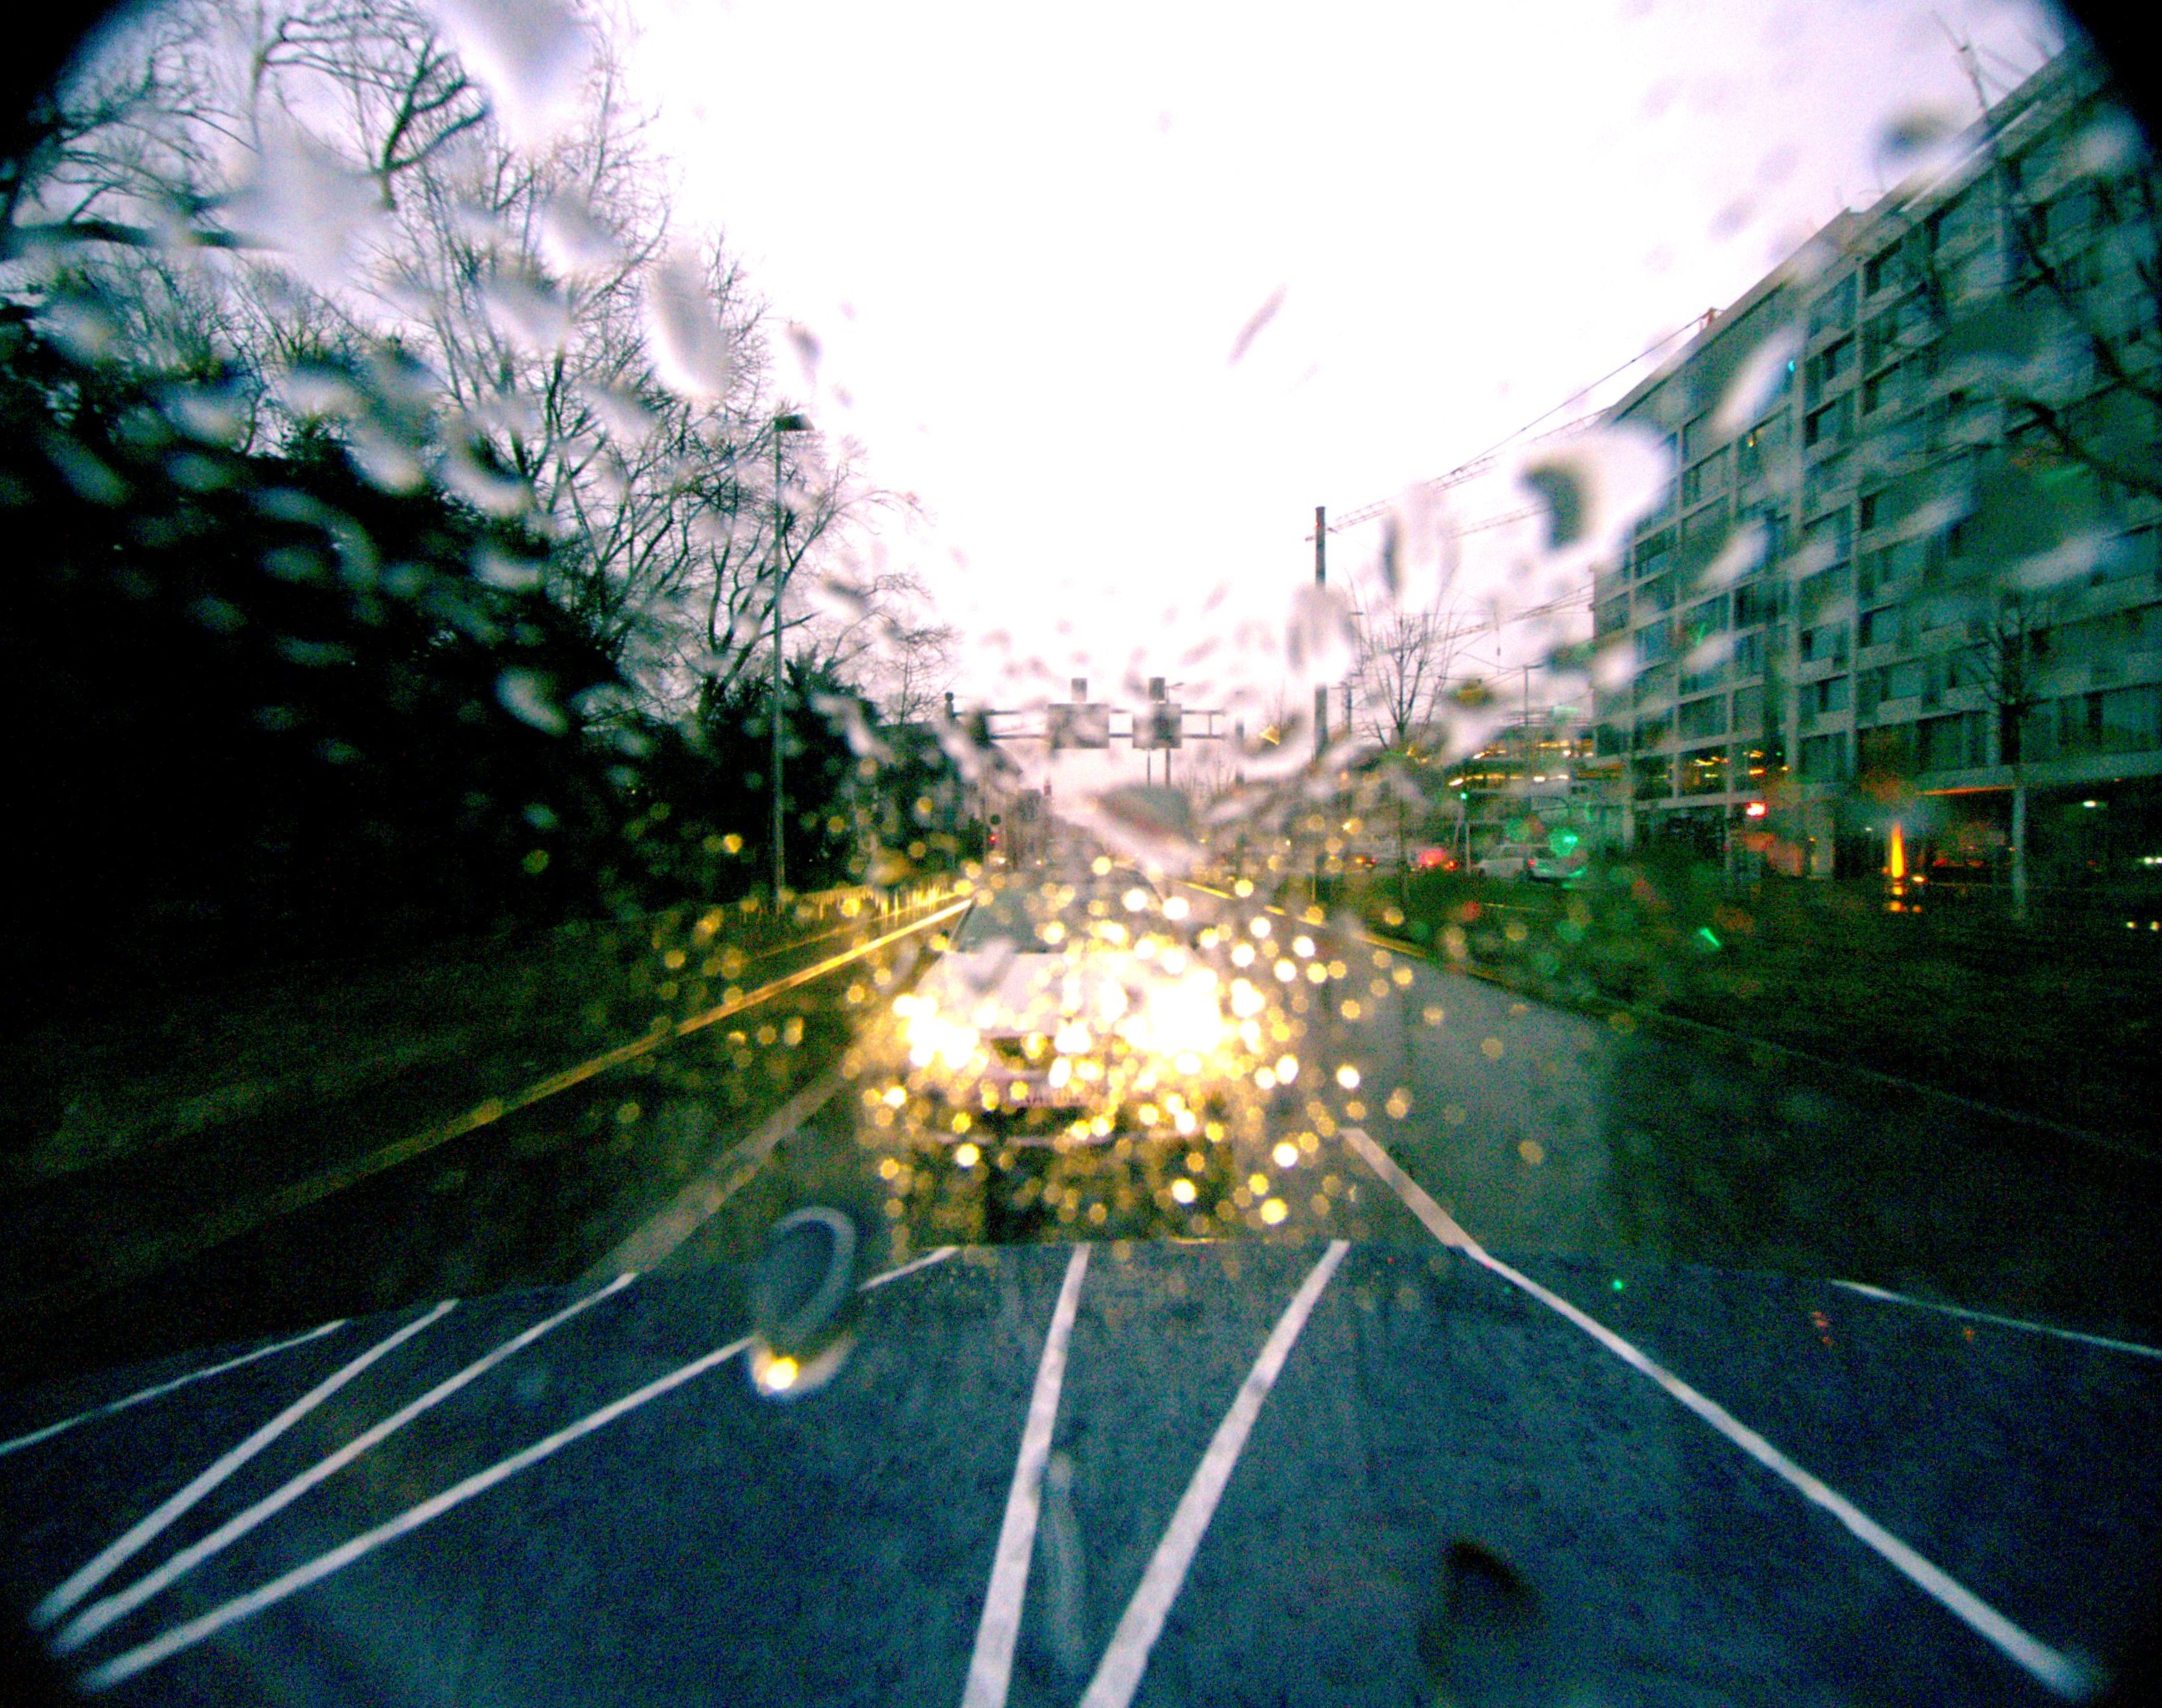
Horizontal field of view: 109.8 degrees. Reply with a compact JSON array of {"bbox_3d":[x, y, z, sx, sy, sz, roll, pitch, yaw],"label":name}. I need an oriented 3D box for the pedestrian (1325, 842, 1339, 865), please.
[{"bbox_3d":[19.986,-0.041,60.465,0.710,1.794,0.769,-3,1,-14],"label":"pedestrian"}]

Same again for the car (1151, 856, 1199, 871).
[{"bbox_3d":[8.093,0.812,65.650,3.996,1.267,1.818,0,1,4],"label":"car"}]

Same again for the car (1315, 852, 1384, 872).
[{"bbox_3d":[19.334,0.544,54.833,2.116,1.392,4.247,-1,1,-33],"label":"car"}]

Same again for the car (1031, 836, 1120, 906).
[{"bbox_3d":[-0.097,0.373,20.309,2.073,1.618,4.267,-2,1,1],"label":"car"}]

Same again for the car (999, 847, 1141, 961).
[{"bbox_3d":[-0.213,0.728,13.529,2.073,1.618,4.267,-2,1,-1],"label":"car"}]

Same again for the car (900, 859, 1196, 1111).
[{"bbox_3d":[-0.184,0.856,6.937,1.886,1.552,4.170,0,0,1],"label":"car"}]

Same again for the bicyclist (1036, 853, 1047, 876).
[{"bbox_3d":[-2.841,0.767,55.036,0.692,1.675,0.592,-2,1,-6],"label":"bicyclist"}]

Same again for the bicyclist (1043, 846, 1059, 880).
[{"bbox_3d":[-2.040,0.604,51.466,0.968,2.210,0.934,-2,1,-4],"label":"bicyclist"}]

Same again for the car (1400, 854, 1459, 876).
[{"bbox_3d":[21.108,0.634,46.183,1.816,1.300,4.000,0,0,1],"label":"car"}]

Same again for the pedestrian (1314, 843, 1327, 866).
[{"bbox_3d":[19.121,0.036,60.692,0.710,1.794,0.769,-2,1,-6],"label":"pedestrian"}]

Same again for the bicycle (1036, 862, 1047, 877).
[{"bbox_3d":[-2.849,1.099,55.126,0.692,1.036,1.720,-2,1,-5],"label":"bicycle"}]

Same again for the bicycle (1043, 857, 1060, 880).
[{"bbox_3d":[-2.037,0.968,51.605,0.968,1.442,3.388,-2,1,-4],"label":"bicycle"}]

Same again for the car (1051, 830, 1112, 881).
[{"bbox_3d":[0.044,0.032,27.759,1.998,1.618,4.268,-2,1,0],"label":"car"}]

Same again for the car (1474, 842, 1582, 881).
[{"bbox_3d":[20.324,0.316,34.862,2.086,1.659,5.043,0,0,2],"label":"car"}]
